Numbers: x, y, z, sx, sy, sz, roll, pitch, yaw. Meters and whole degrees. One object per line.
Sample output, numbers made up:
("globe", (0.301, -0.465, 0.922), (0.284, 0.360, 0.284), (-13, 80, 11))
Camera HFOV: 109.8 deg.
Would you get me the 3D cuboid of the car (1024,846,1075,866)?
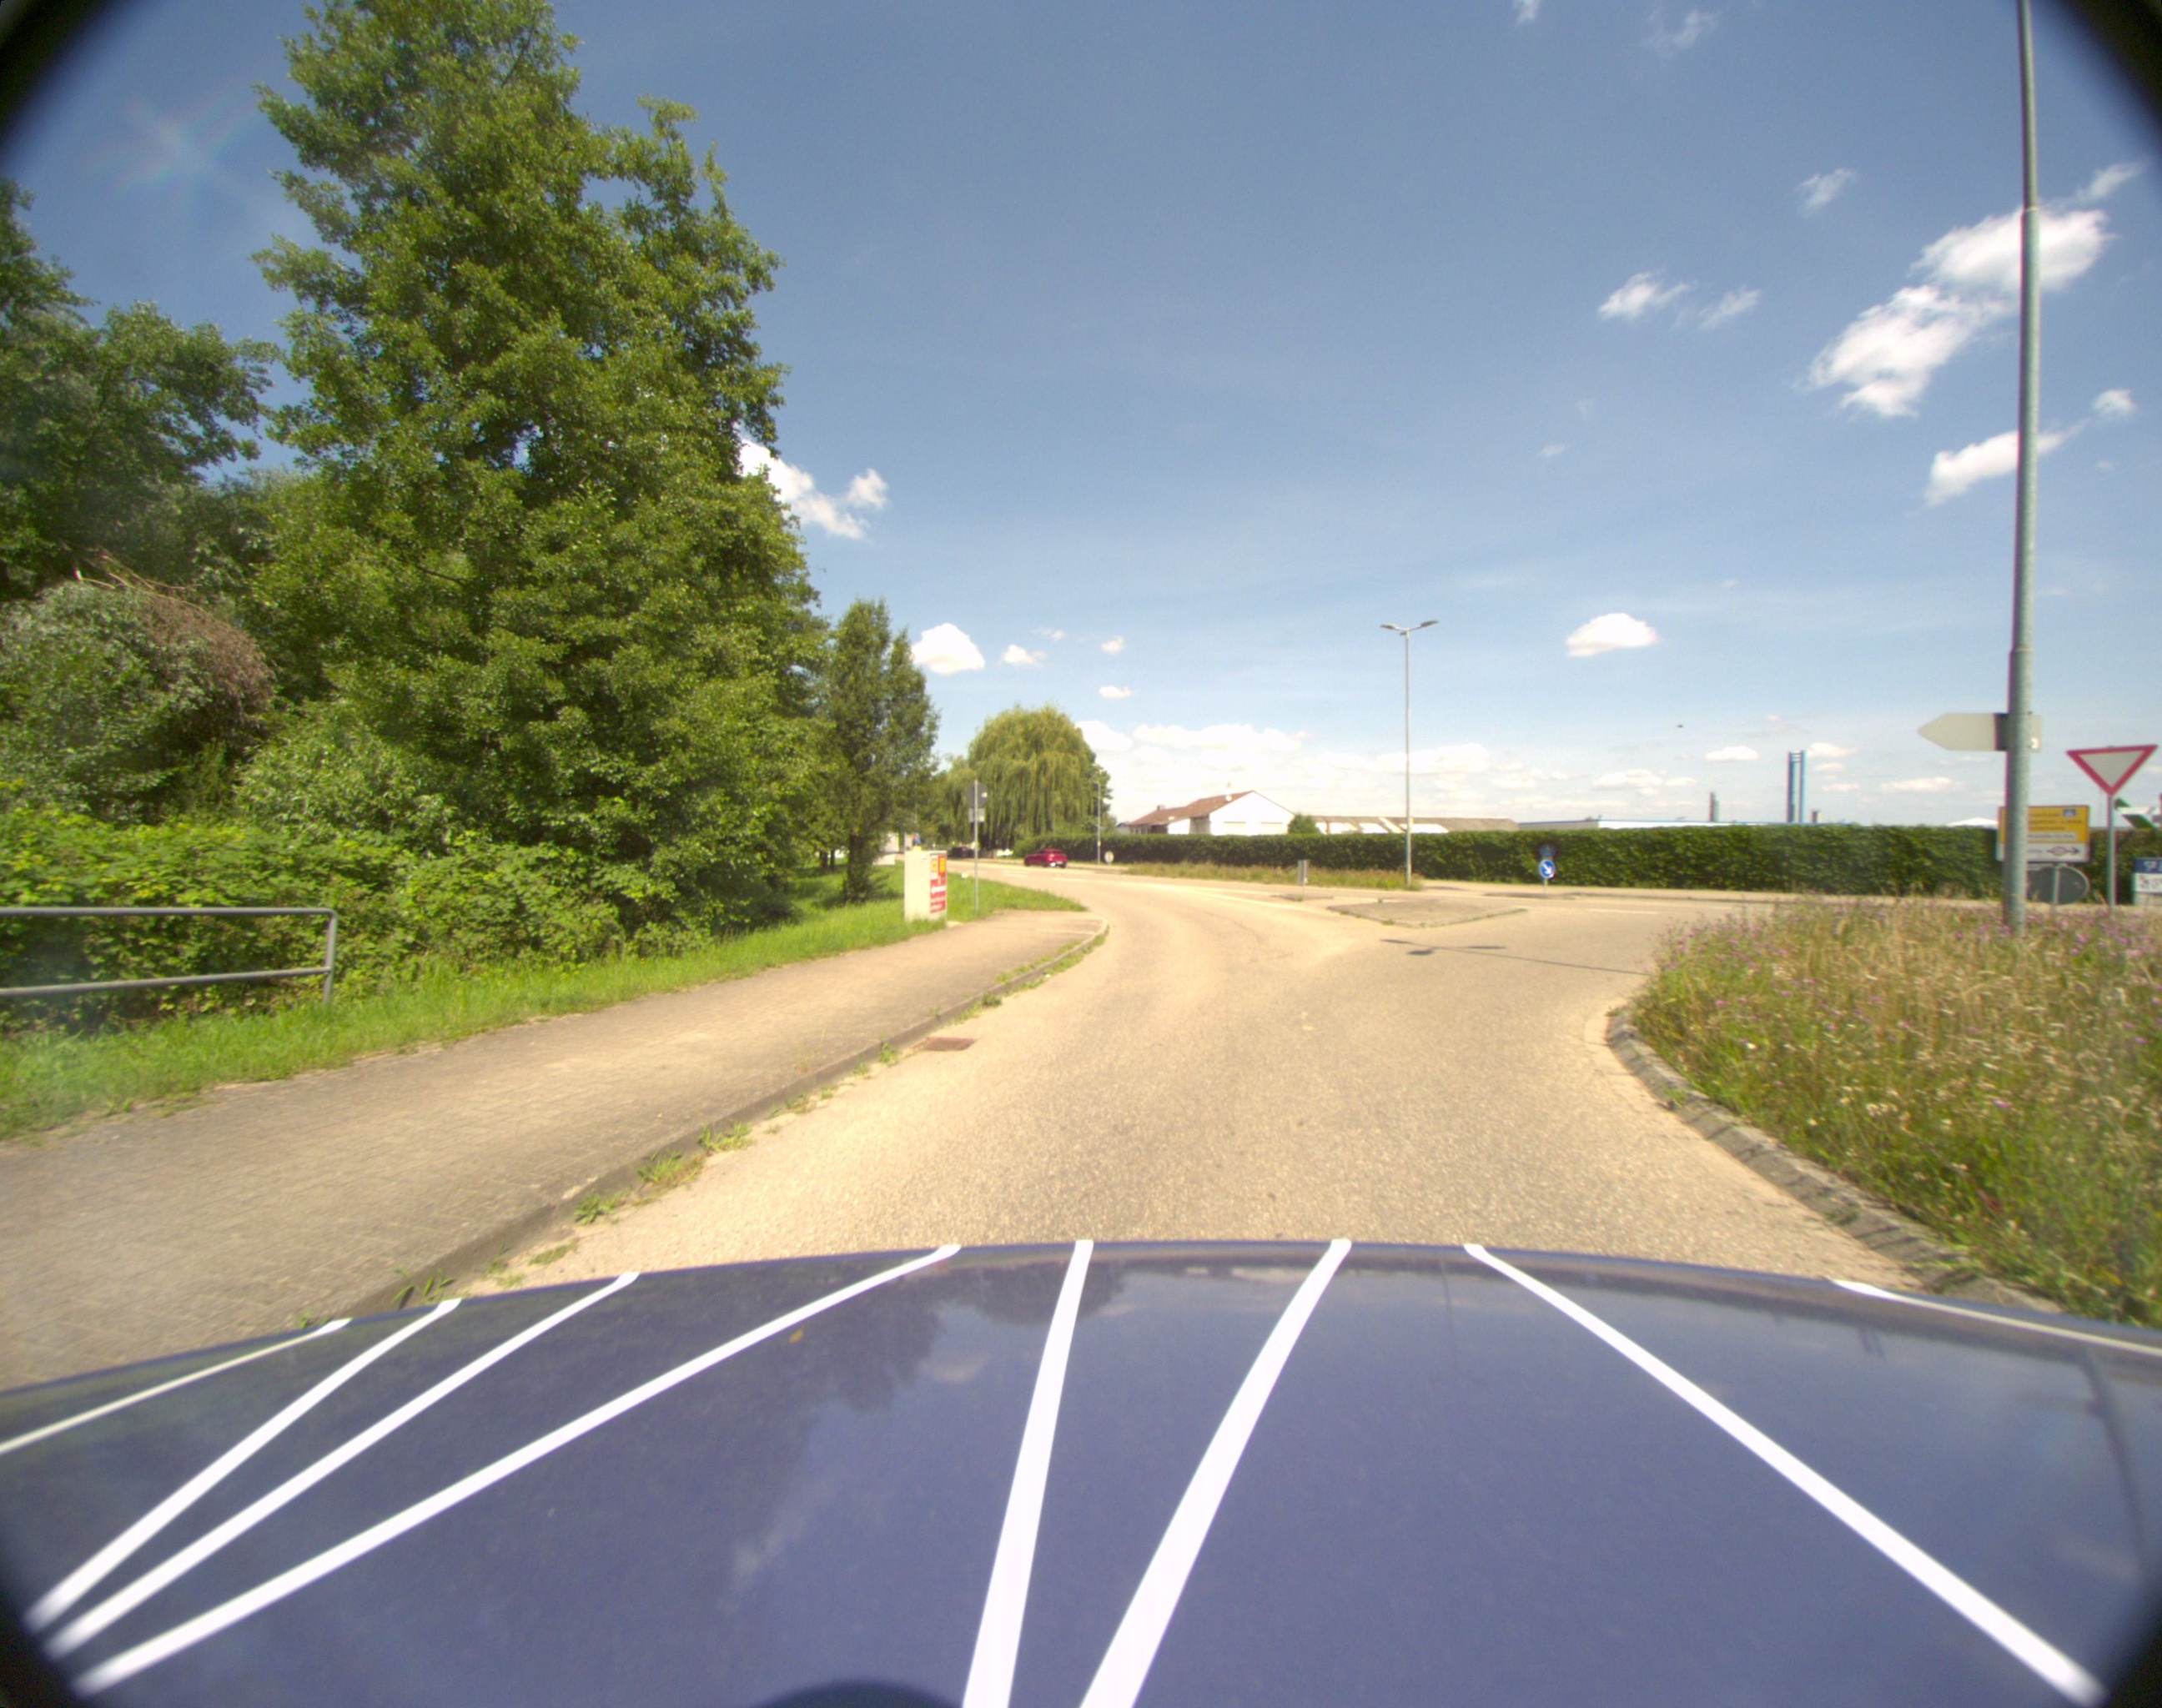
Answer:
("car", (-2.441, 0.149, 57.399), (1.889, 1.455, 4.375), (0, 0, -32))
